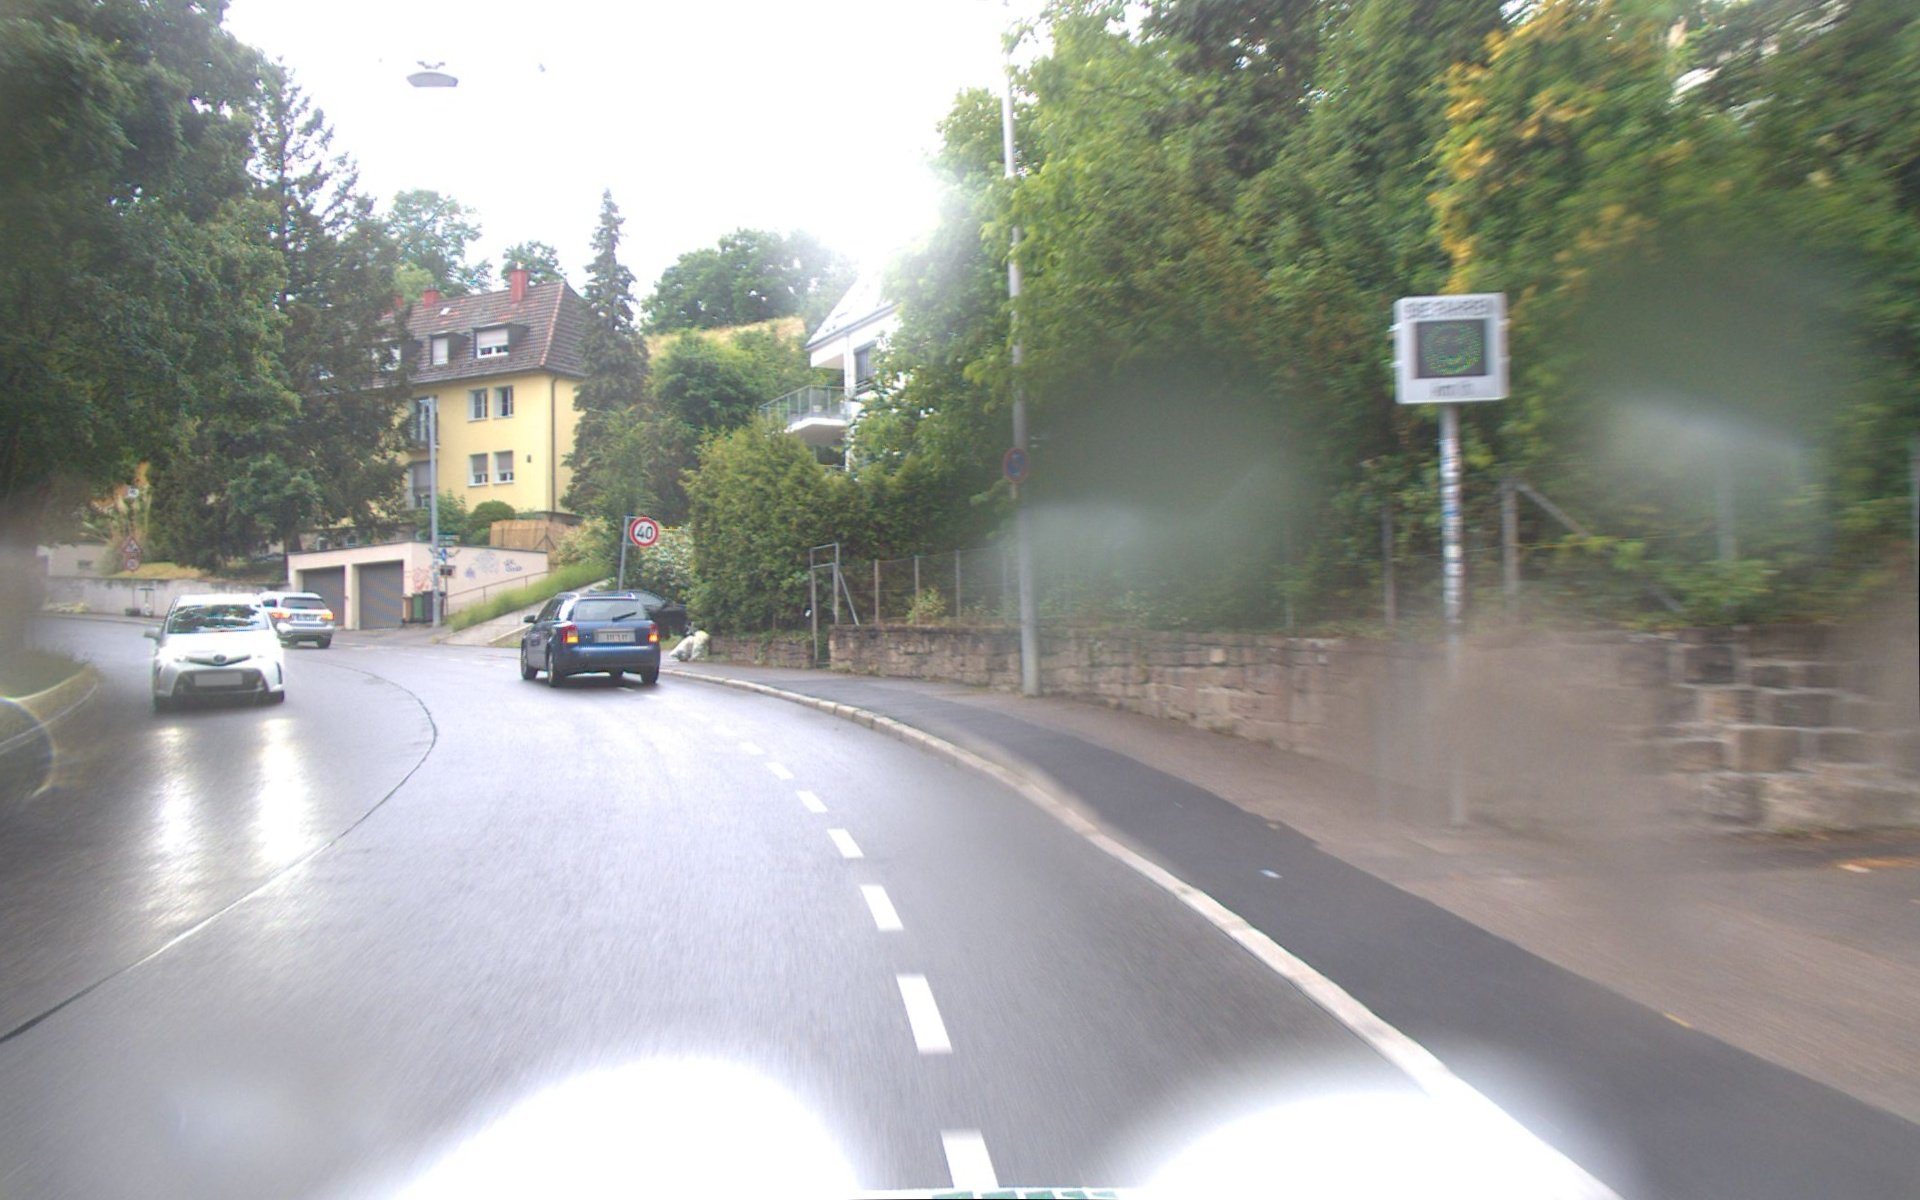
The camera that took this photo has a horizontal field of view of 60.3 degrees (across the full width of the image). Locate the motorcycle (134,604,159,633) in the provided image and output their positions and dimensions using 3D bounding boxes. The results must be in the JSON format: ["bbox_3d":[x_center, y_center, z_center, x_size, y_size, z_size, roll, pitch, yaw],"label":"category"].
[{"bbox_3d":[-33.072,0.752,67.266,0.545,1.151,1.418,0,0,-42],"label":"motorcycle"}]

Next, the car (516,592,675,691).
[{"bbox_3d":[-6.108,0.612,27.367,1.829,1.438,4.331,-1,1,-23],"label":"car"}]

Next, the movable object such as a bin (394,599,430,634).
[{"bbox_3d":[-18.727,0.569,56.509,0.782,1.162,0.860,0,1,32],"label":"movable object such as a bin"}]

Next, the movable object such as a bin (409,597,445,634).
[{"bbox_3d":[-18.078,0.523,56.080,0.770,1.206,0.860,0,1,32],"label":"movable object such as a bin"}]

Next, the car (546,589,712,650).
[{"bbox_3d":[-8.865,0.481,44.483,4.150,1.534,1.712,-1,0,-44],"label":"car"}]

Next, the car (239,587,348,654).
[{"bbox_3d":[-18.391,0.534,45.546,1.933,1.588,4.213,2,1,-34],"label":"car"}]

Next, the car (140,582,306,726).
[{"bbox_3d":[-11.068,0.717,24.647,1.961,1.819,4.654,-4,2,-27],"label":"car"}]

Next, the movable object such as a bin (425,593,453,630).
[{"bbox_3d":[-17.533,0.386,55.674,0.568,1.244,0.703,0,1,31],"label":"movable object such as a bin"}]
